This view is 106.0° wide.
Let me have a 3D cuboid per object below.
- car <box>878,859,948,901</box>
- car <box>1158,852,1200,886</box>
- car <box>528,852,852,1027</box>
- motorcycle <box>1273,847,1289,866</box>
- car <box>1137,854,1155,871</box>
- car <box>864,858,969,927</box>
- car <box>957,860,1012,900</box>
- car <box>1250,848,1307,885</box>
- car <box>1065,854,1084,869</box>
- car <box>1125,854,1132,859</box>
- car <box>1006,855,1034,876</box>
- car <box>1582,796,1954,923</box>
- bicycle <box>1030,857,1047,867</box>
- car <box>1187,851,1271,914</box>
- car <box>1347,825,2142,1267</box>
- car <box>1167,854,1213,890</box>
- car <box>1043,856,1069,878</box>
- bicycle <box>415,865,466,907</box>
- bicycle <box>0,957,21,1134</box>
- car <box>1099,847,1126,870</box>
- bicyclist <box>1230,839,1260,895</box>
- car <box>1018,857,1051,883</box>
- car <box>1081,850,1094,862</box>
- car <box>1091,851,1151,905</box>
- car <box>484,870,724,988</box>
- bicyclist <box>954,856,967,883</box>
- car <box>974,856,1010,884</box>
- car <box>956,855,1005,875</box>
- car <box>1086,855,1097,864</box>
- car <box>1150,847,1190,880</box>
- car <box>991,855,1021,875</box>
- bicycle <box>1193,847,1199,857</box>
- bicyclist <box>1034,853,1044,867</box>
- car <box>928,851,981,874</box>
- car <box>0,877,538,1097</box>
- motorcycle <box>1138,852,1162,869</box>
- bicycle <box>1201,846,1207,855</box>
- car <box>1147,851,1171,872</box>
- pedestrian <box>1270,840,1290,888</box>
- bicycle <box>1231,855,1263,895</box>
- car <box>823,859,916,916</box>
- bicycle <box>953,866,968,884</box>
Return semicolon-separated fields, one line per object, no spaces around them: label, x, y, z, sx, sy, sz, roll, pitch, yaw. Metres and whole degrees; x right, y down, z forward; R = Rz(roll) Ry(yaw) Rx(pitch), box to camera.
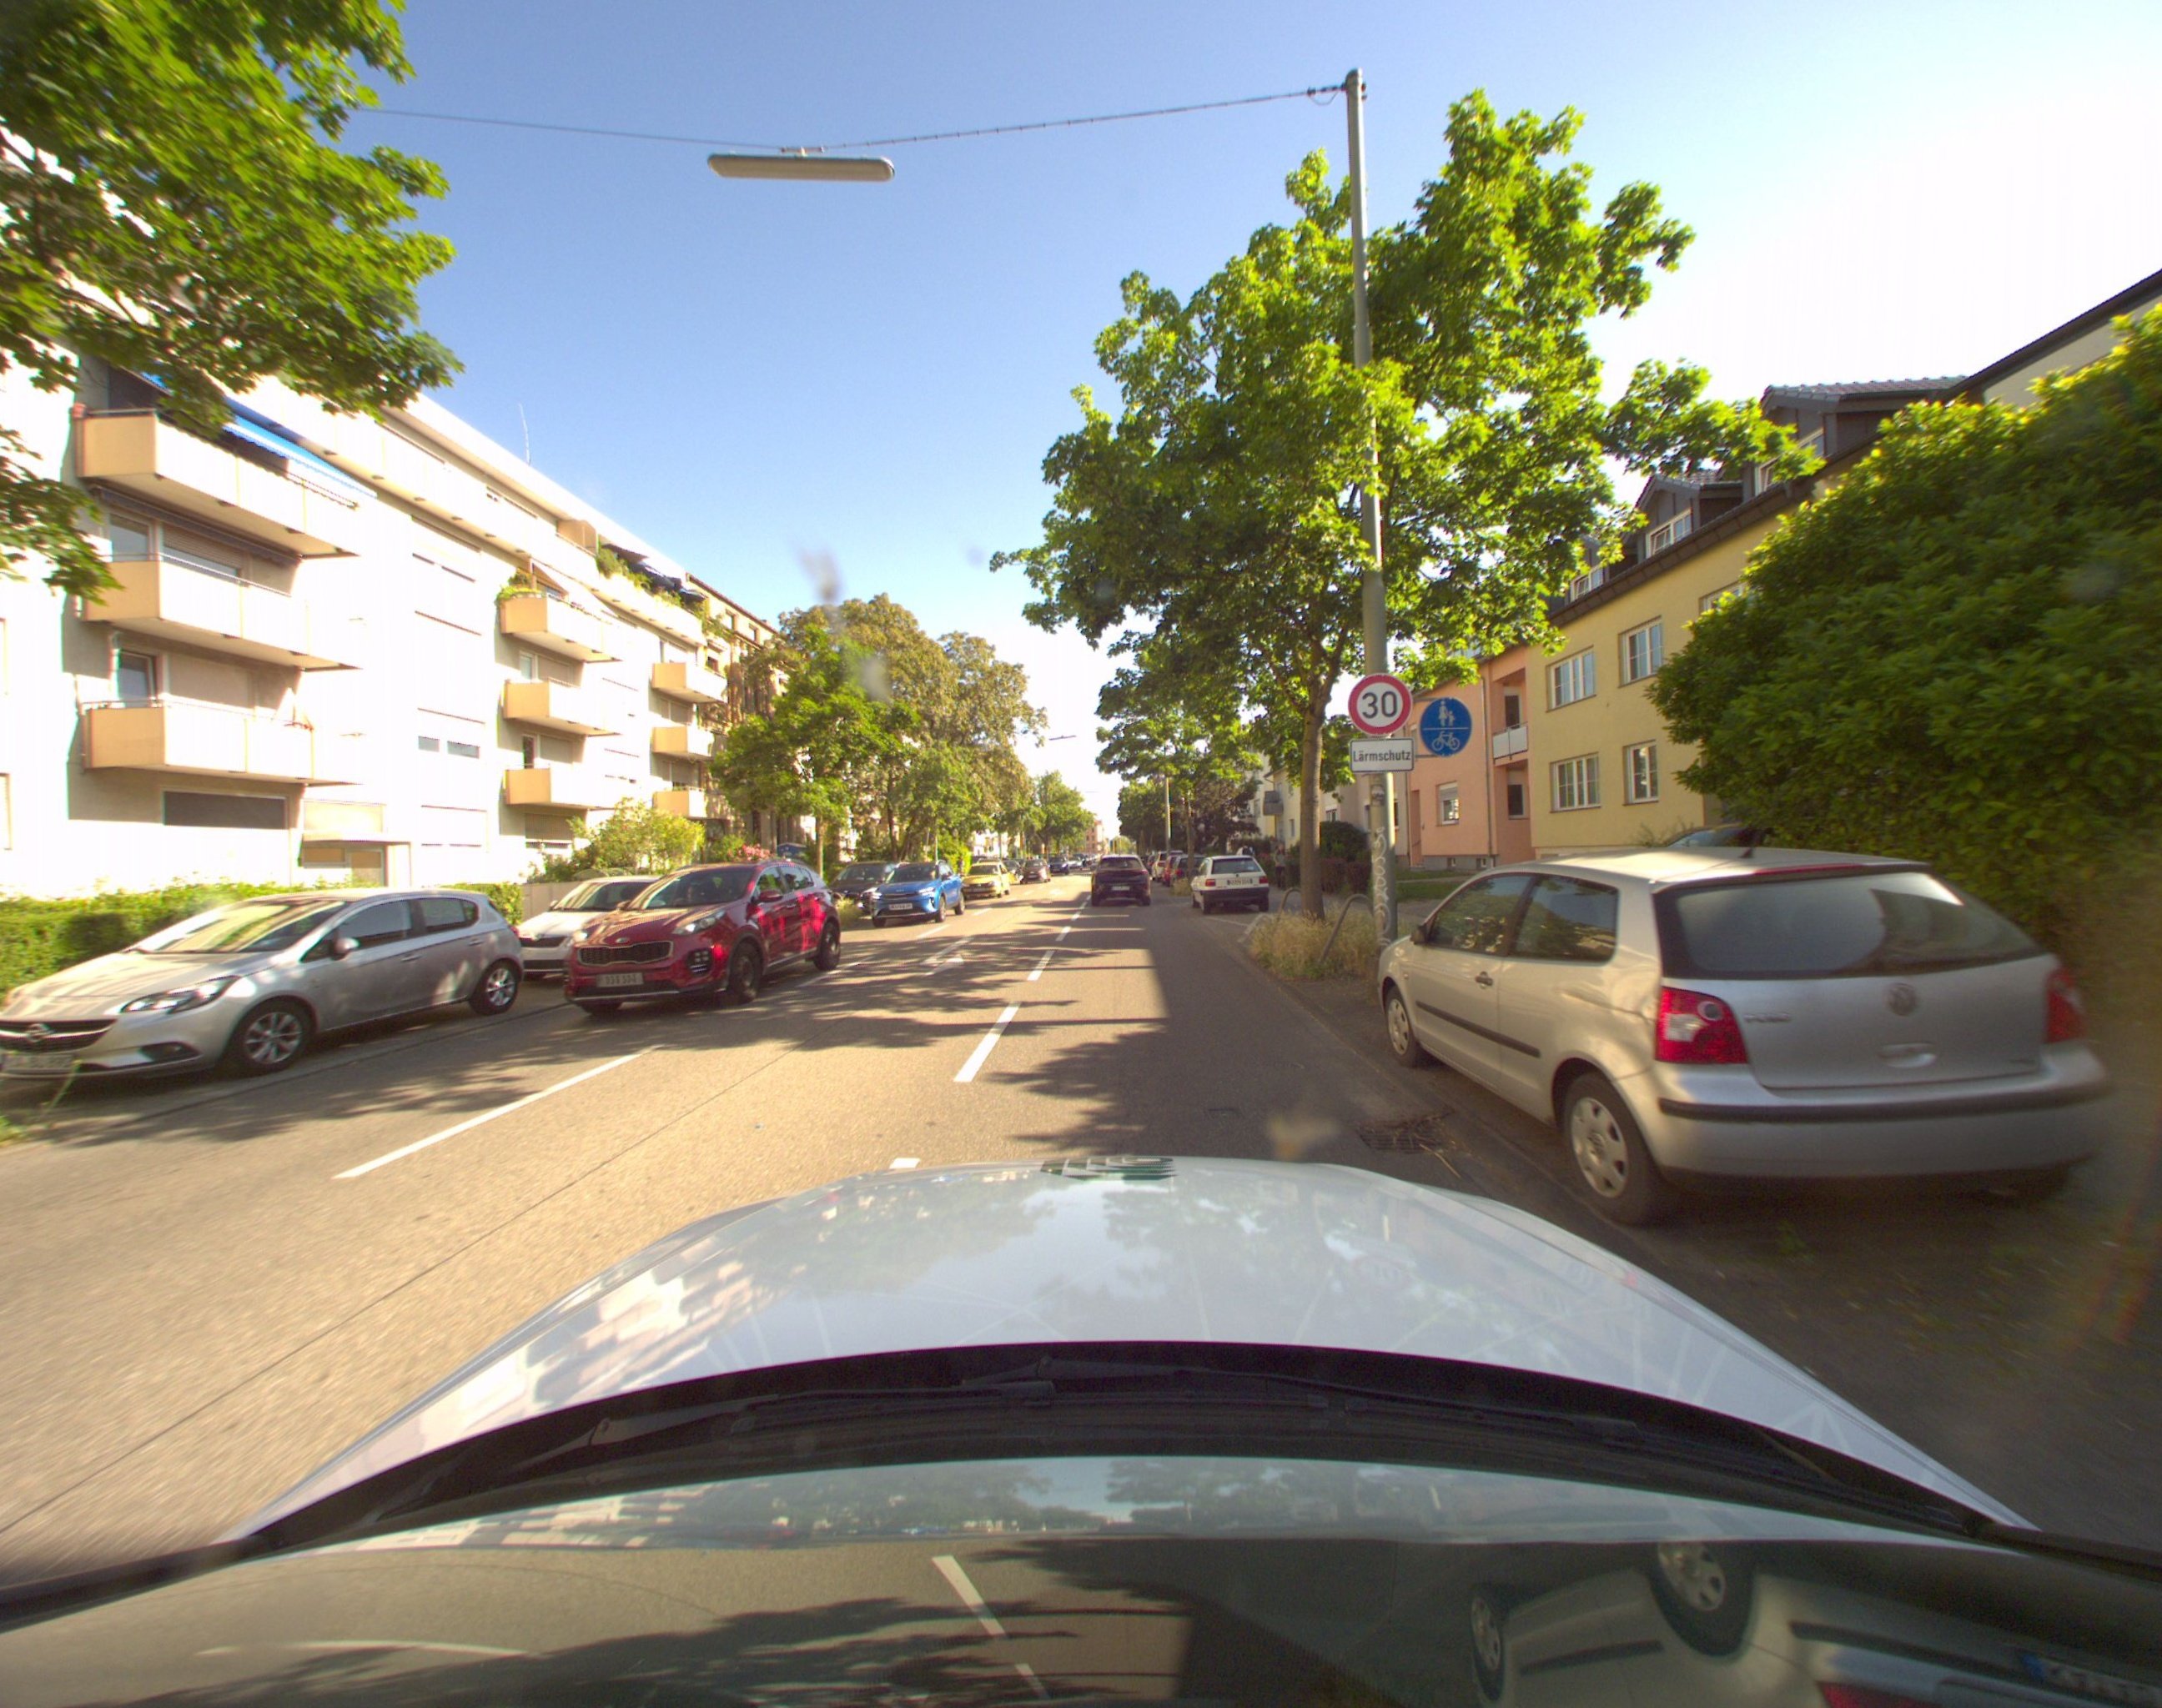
car;-6.383;0.966;31.344;1.594;1.477;3.936;-1;0;4
car;4.553;0.688;38.213;1.526;1.449;3.719;-2;0;1
car;-4.538;0.855;10.329;1.714;1.617;4.303;-5;0;3
motorcycle;14.883;0.198;60.544;0.634;1.375;2.427;-3;0;3
car;6.103;0.775;76.745;1.579;1.396;4.458;-3;0;3
car;-4.199;0.923;21.402;1.649;1.517;4.079;-4;0;2
car;-3.894;1.018;33.245;1.629;1.403;3.737;-4;0;1
car;8.203;0.498;34.044;1.526;1.356;3.720;-4;0;2
car;-0.641;0.766;87.370;1.726;1.412;4.195;-4;0;2
car;14.896;0.665;255.982;1.984;1.519;4.004;1;0;4
car;-4.785;0.874;64.449;1.670;1.555;4.011;-1;0;4
car;10.212;0.088;12.365;3.972;1.441;1.832;-5;0;2
bicycle;-5.483;1.045;106.142;2.198;1.193;0.445;-2;-1;-29
car;3.769;0.669;21.270;1.642;1.403;3.974;-4;0;4
car;2.903;0.675;4.743;1.560;1.457;3.868;-3;0;3
car;4.426;0.699;33.521;1.526;1.356;3.720;-2;0;2
car;-2.095;1.067;68.926;1.829;1.613;4.403;-4;0;2
bicycle;-17.244;0.843;21.910;1.540;1.060;0.507;0;1;29
bicycle;-7.613;1.179;4.870;1.819;1.087;0.560;1;-1;1
car;2.320;0.315;58.762;1.822;1.578;3.842;-2;0;3
bicyclist;5.448;0.411;27.102;0.721;1.793;1.016;-3;0;2
car;-2.816;0.970;49.921;1.575;1.451;3.746;-3;0;2
car;1.081;0.339;130.289;1.809;1.743;4.495;-4;0;2
car;1.246;0.703;25.446;1.738;1.573;3.560;0;0;2
car;-7.240;1.044;12.809;1.395;1.489;3.689;-1;0;4
bicyclist;-7.751;0.990;52.327;0.606;1.754;0.692;-2;0;2
car;-5.370;0.952;49.668;1.618;1.588;4.350;0;0;2
car;-8.841;0.959;71.534;3.923;1.644;1.668;-1;0;-22
car;2.004;1.062;156.431;1.799;1.648;4.674;-4;0;2
car;4.844;0.491;44.860;1.762;1.659;4.342;-3;0;1
car;-5.379;0.753;58.853;1.630;1.417;4.092;0;0;2
bicycle;15.814;-0.252;112.072;0.620;1.287;1.843;-4;0;3
bicyclist;-5.479;0.756;106.162;1.057;1.824;0.655;-2;-1;-28
car;-11.390;0.747;73.336;4.333;1.879;1.865;-1;0;-23
car;-7.388;1.032;7.898;1.498;1.475;3.898;-1;0;2
motorcycle;5.504;0.543;65.082;0.701;1.271;2.411;-3;0;-25
bicycle;16.878;-0.466;111.564;0.589;1.287;1.691;-4;0;3
car;5.769;0.533;60.351;1.613;1.499;3.653;-3;0;4
pedestrian;7.061;0.347;28.891;0.536;1.677;0.494;-3;-1;2
bicycle;5.460;0.666;26.920;0.695;1.247;1.823;-3;0;3
car;-6.633;0.996;25.984;1.664;1.605;4.396;-1;0;2
bicycle;-7.756;1.336;52.325;0.606;1.073;1.744;-2;0;3
